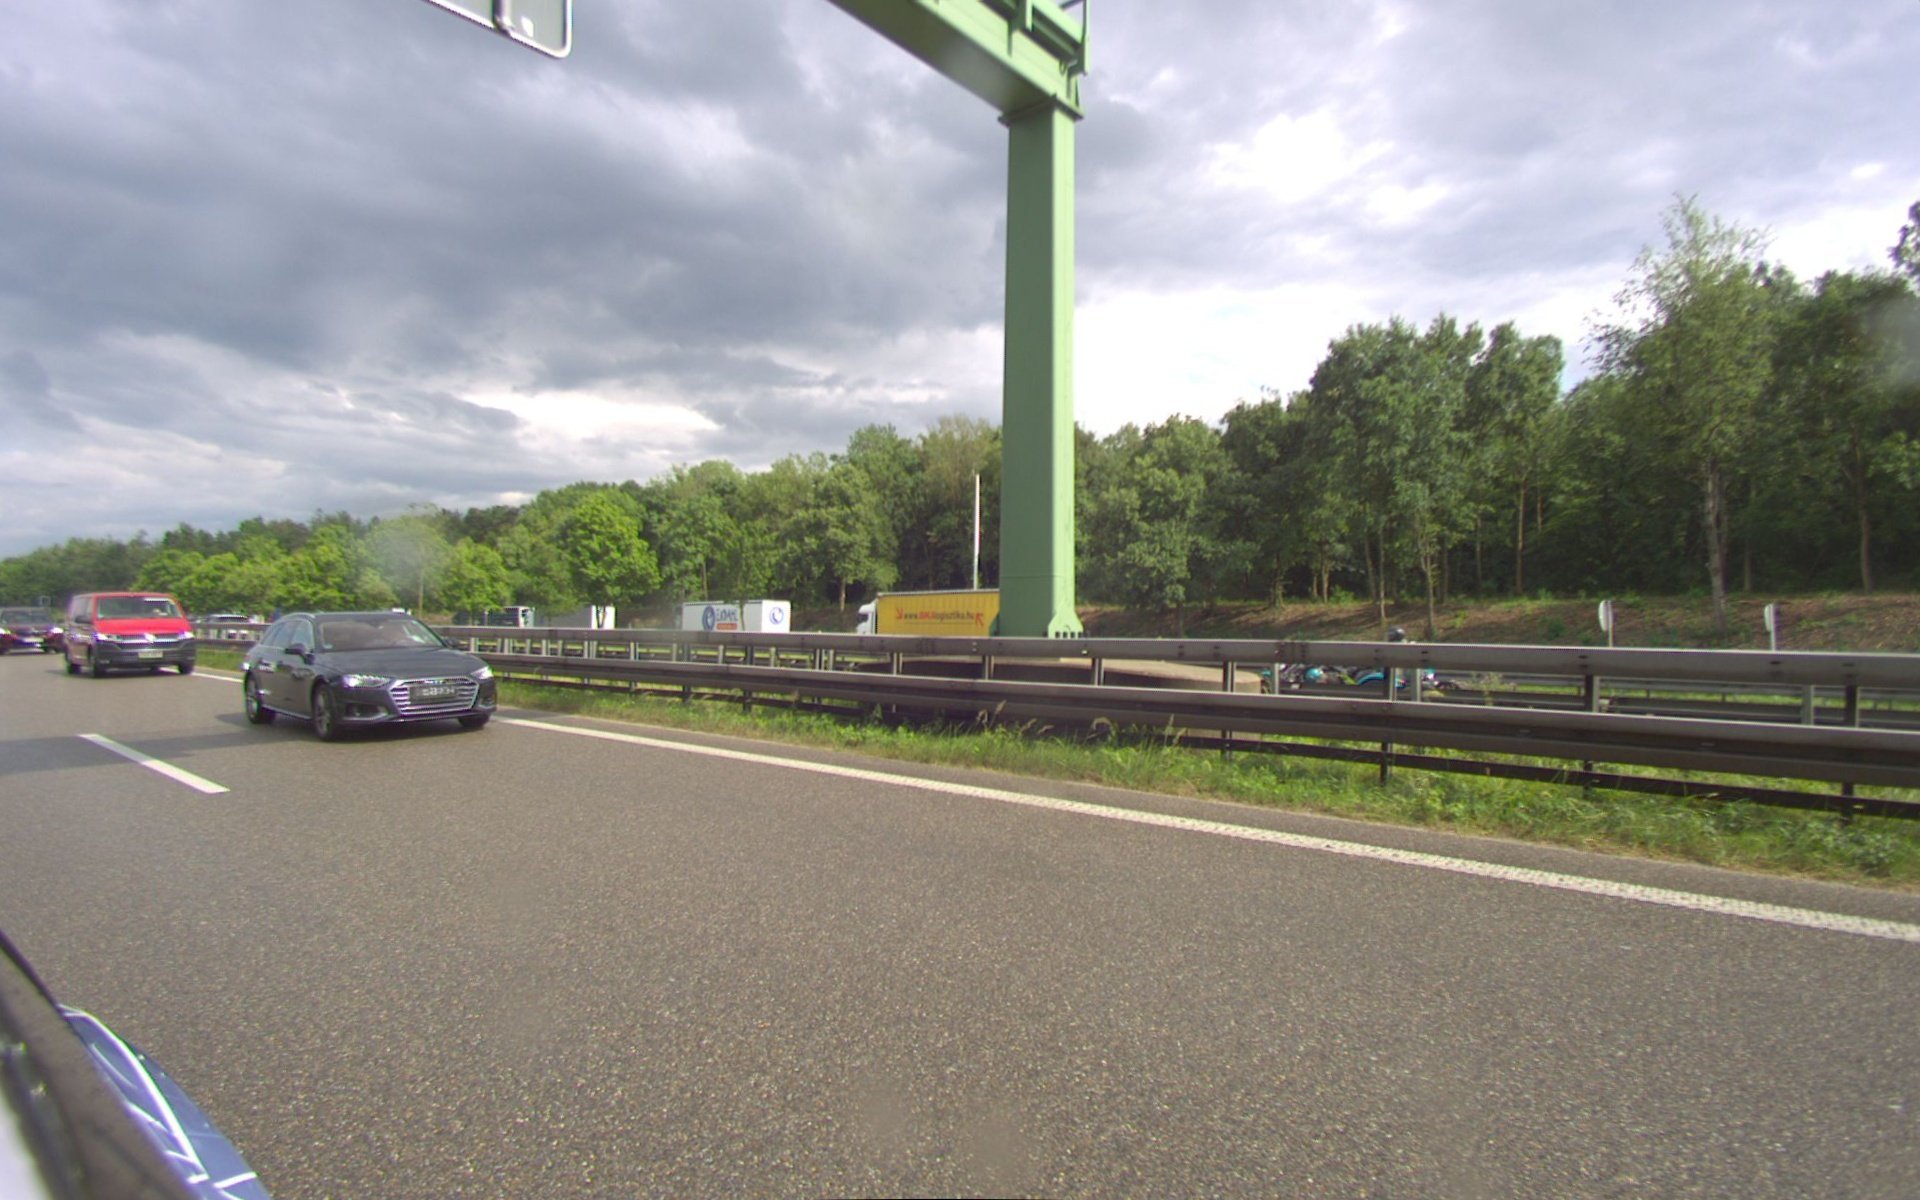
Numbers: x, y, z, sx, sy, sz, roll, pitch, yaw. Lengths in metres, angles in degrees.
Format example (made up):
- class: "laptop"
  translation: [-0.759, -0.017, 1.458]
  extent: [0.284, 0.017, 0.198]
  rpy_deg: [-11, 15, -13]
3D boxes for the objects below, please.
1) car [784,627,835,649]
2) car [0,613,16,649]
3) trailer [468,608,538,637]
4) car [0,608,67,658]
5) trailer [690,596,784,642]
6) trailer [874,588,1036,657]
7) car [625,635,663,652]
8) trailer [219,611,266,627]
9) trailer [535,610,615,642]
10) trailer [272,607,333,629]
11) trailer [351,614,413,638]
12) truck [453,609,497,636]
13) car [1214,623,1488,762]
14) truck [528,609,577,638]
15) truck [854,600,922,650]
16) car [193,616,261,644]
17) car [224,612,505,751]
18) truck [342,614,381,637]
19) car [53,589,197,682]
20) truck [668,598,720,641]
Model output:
- class: "car"
  translation: [-11.240, 2.809, 75.309]
  extent: [1.871, 1.514, 4.006]
  rpy_deg: [2, -2, -41]
- class: "car"
  translation: [-44.667, 1.412, 46.233]
  extent: [4.051, 1.578, 1.870]
  rpy_deg: [-1, -1, 41]
- class: "trailer"
  translation: [-54.878, 2.712, 121.238]
  extent: [12.641, 3.296, 2.577]
  rpy_deg: [-1, -2, 41]
- class: "car"
  translation: [-33.687, 1.147, 36.357]
  extent: [4.292, 1.682, 1.871]
  rpy_deg: [-1, -1, 41]
- class: "trailer"
  translation: [-18.704, 1.618, 84.139]
  extent: [2.156, 3.627, 11.735]
  rpy_deg: [2, -2, -41]
- class: "trailer"
  translation: [-0.689, 1.256, 60.886]
  extent: [1.967, 3.722, 13.689]
  rpy_deg: [0, 0, -37]
- class: "car"
  translation: [-30.486, 4.167, 97.652]
  extent: [1.873, 1.514, 4.002]
  rpy_deg: [2, -2, -45]
- class: "trailer"
  translation: [-119.692, 3.074, 168.733]
  extent: [9.840, 2.594, 2.511]
  rpy_deg: [0, -1, 30]
- class: "trailer"
  translation: [-41.474, 2.752, 108.632]
  extent: [12.174, 3.217, 2.986]
  rpy_deg: [-1, -2, 43]
- class: "trailer"
  translation: [-102.283, 2.827, 157.365]
  extent: [13.376, 3.296, 3.050]
  rpy_deg: [0, -2, 35]
- class: "trailer"
  translation: [-81.995, 3.618, 143.370]
  extent: [12.632, 3.296, 3.153]
  rpy_deg: [-1, -2, 39]
- class: "truck"
  translation: [-60.473, 2.778, 126.085]
  extent: [6.533, 3.275, 2.548]
  rpy_deg: [0, -2, 41]
- class: "car"
  translation: [6.653, 1.453, 17.429]
  extent: [3.998, 2.029, 1.813]
  rpy_deg: [-1, 1, 41]
- class: "truck"
  translation: [-45.486, 2.615, 112.911]
  extent: [5.597, 3.208, 3.009]
  rpy_deg: [-1, -2, 43]
- class: "truck"
  translation: [-4.782, 1.581, 66.385]
  extent: [1.950, 3.121, 5.087]
  rpy_deg: [-1, 0, -37]
- class: "car"
  translation: [-35.990, 1.437, 49.650]
  extent: [3.997, 1.306, 1.825]
  rpy_deg: [-1, -2, 41]
- class: "car"
  translation: [-7.537, 0.873, 12.605]
  extent: [4.465, 1.422, 1.701]
  rpy_deg: [-1, -1, 41]
- class: "truck"
  translation: [-87.302, 3.682, 147.640]
  extent: [5.385, 3.280, 3.142]
  rpy_deg: [0, -3, 39]
- class: "car"
  translation: [-19.814, 0.790, 23.942]
  extent: [4.747, 2.000, 1.870]
  rpy_deg: [-1, -1, 41]
- class: "truck"
  translation: [-23.618, 1.743, 89.708]
  extent: [2.136, 3.648, 5.585]
  rpy_deg: [2, -2, -41]
